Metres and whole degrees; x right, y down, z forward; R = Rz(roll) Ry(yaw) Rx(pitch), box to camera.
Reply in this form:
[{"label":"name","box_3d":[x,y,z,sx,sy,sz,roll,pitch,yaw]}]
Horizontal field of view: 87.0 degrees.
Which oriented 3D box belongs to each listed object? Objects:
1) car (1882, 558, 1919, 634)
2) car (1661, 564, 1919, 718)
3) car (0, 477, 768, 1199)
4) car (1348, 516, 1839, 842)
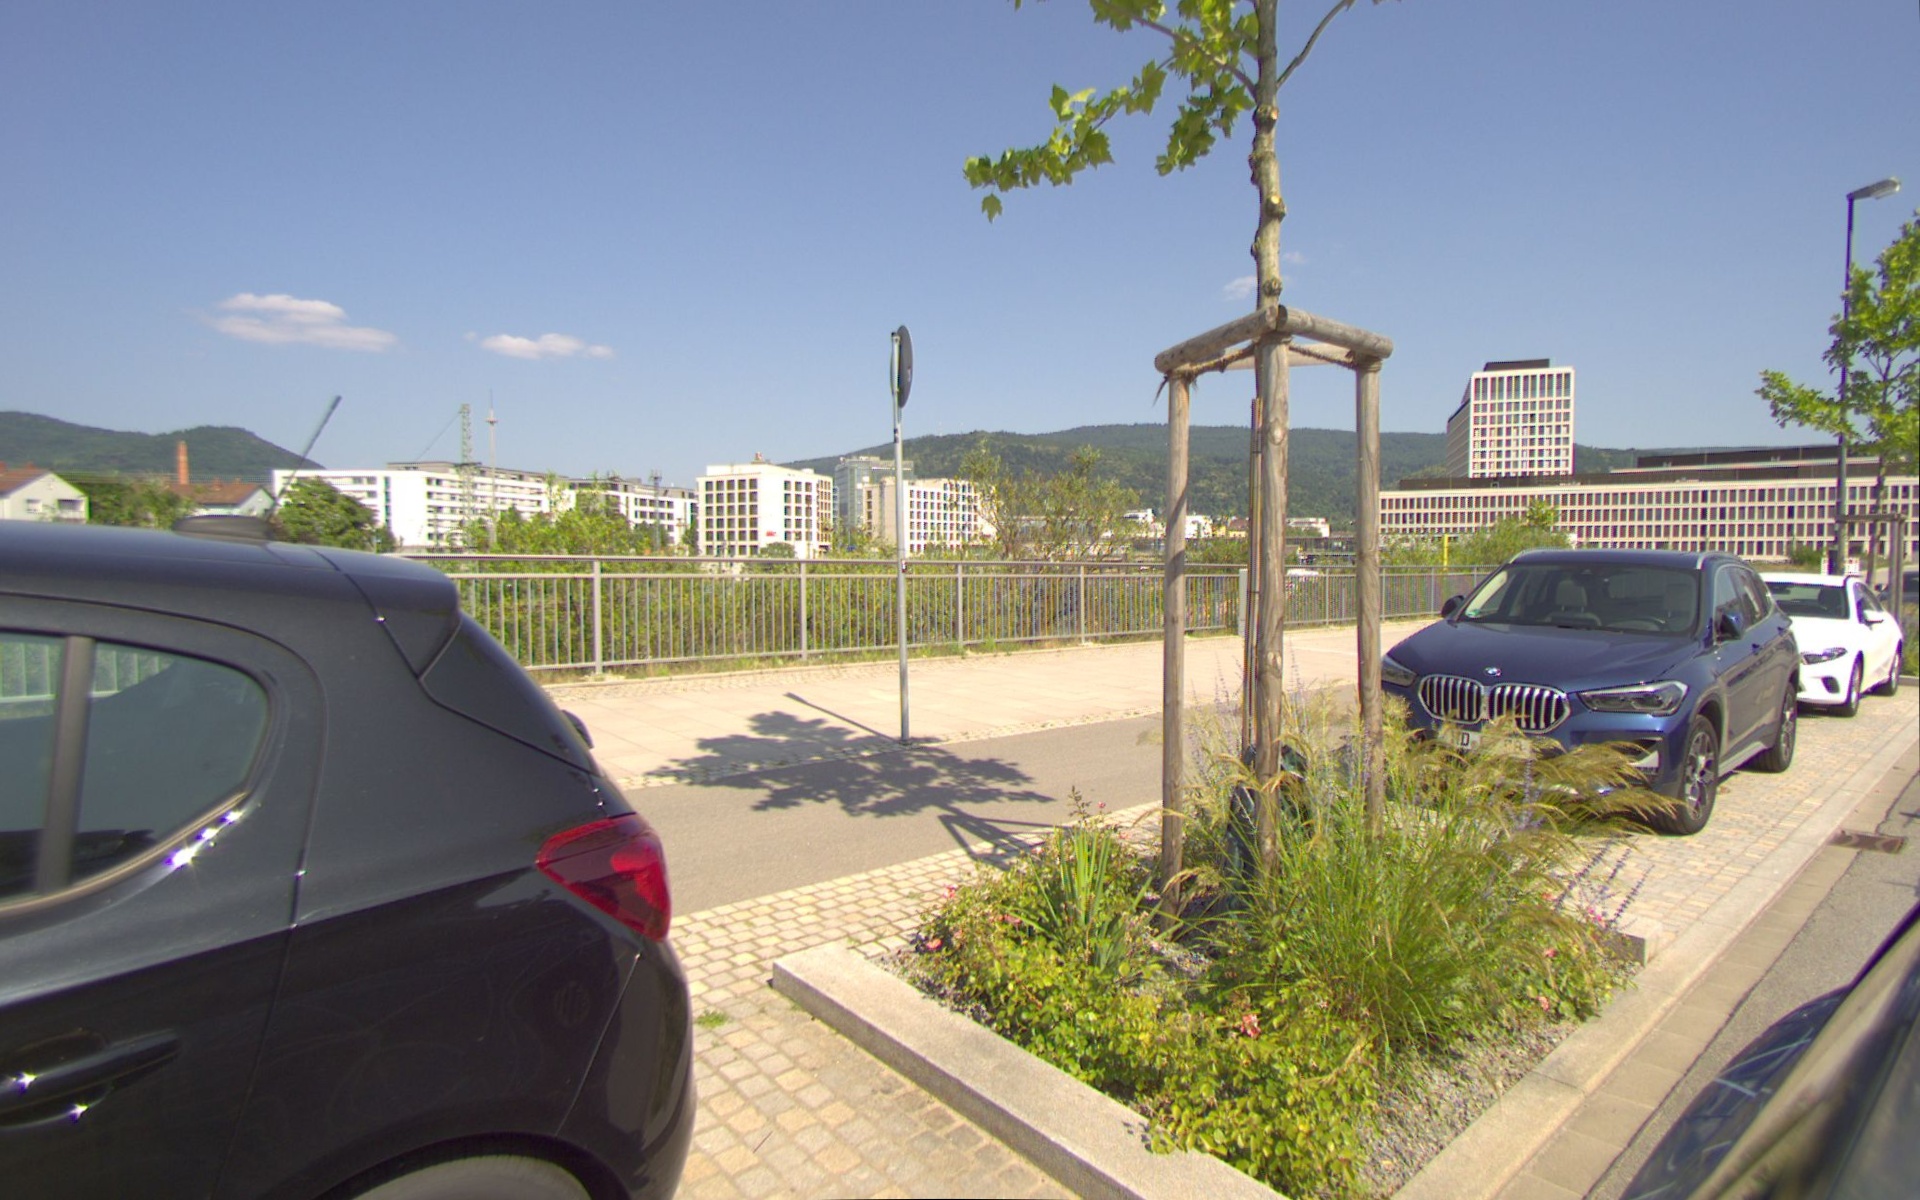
[{"label":"car","box_3d":[21.209,-0.125,21.707,3.931,1.558,1.663,-2,1,-41]},{"label":"car","box_3d":[9.614,0.344,11.609,3.931,1.473,1.663,-2,1,-41]},{"label":"car","box_3d":[-2.326,0.577,0.952,3.931,1.443,1.663,-2,4,-42]},{"label":"car","box_3d":[4.609,0.341,7.094,4.164,1.627,1.768,-2,1,-41]}]
